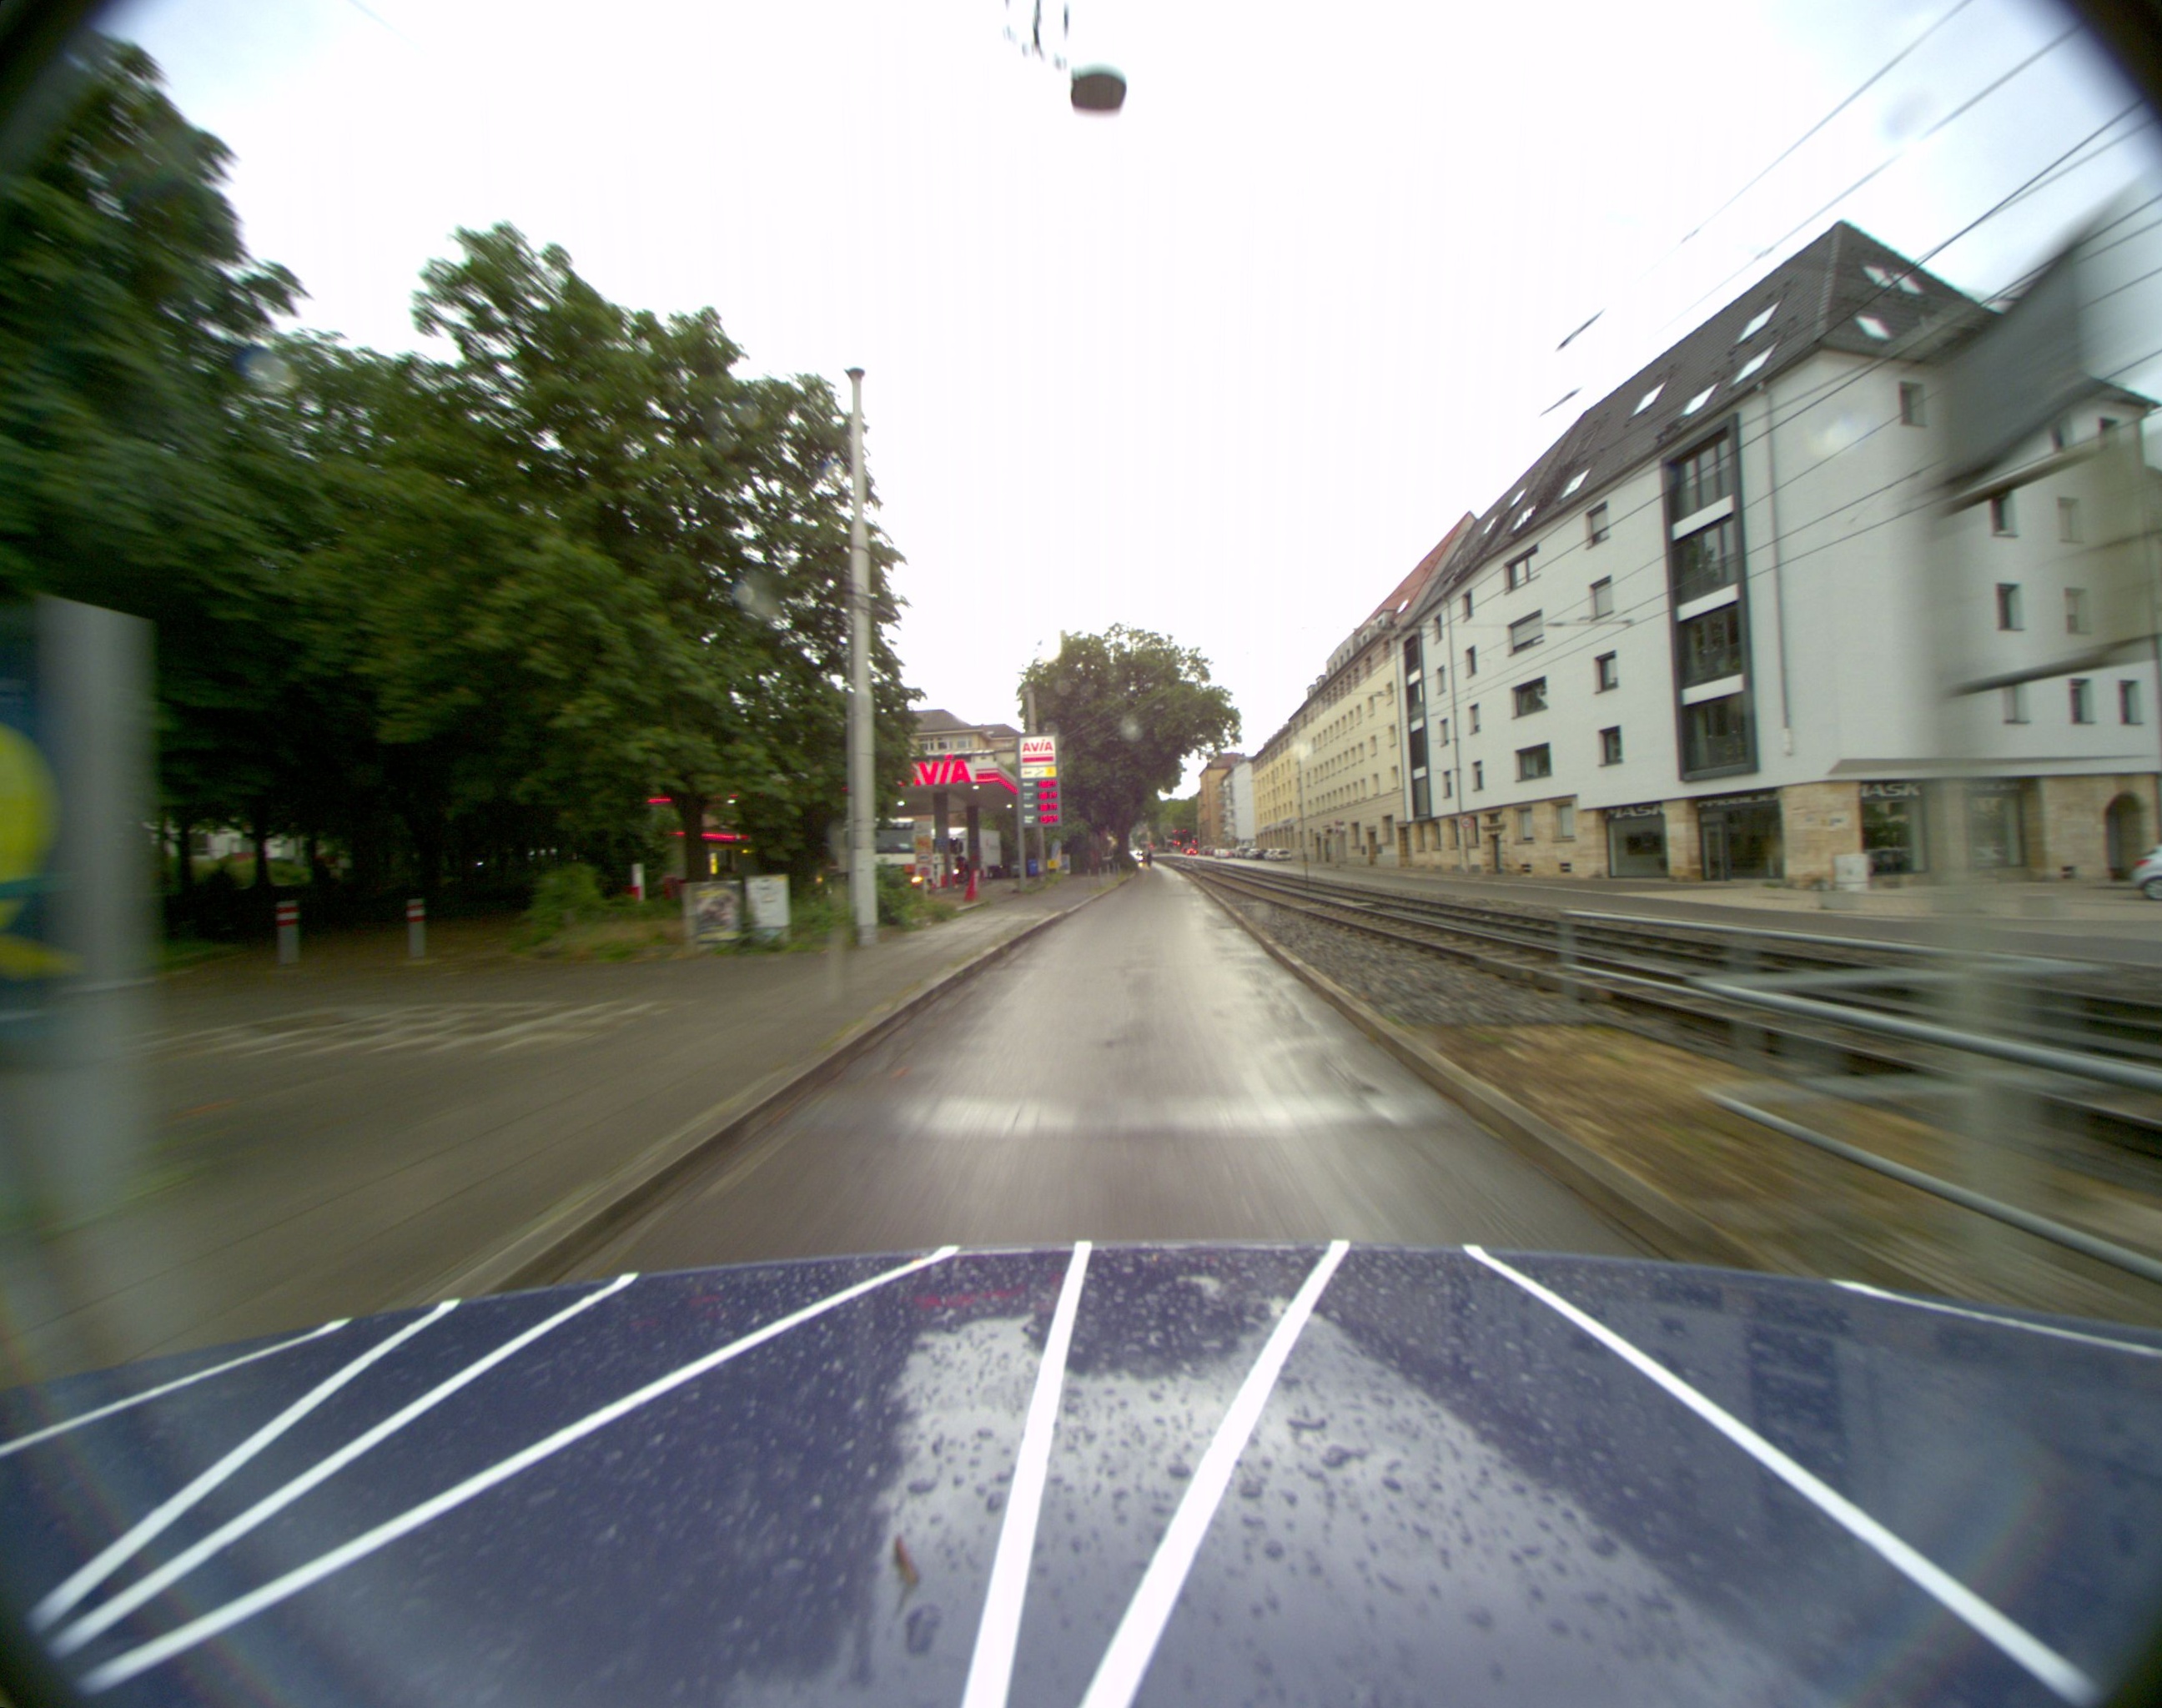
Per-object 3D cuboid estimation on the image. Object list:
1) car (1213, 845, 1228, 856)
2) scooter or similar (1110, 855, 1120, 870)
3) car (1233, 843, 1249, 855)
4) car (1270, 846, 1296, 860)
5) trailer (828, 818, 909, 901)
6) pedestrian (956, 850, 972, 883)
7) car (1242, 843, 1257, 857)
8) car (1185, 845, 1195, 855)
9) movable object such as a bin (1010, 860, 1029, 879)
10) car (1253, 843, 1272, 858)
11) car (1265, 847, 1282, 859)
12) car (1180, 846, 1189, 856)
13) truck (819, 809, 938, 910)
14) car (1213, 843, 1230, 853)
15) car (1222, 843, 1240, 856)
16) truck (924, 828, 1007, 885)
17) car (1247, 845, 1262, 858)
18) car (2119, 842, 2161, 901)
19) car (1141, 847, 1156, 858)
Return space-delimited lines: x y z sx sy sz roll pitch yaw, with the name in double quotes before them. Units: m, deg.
"car" 26.071 -0.650 142.337 2.030 2.002 4.227 -1 1 1
"scooter or similar" 2.806 0.701 62.794 0.400 1.186 1.364 -1 4 18
"car" 24.845 -0.849 117.845 1.727 1.798 3.591 -1 1 1
"car" 23.803 -0.112 89.776 2.030 1.533 4.000 -1 1 1
"trailer" -9.882 0.171 36.303 2.814 3.376 9.825 -2 1 -11
"pedestrian" -7.261 0.770 47.161 0.809 2.028 0.651 -1 1 6
"car" 24.668 -0.591 111.382 1.556 1.872 4.041 -1 1 4
"car" 23.777 -0.893 165.510 1.948 2.002 4.001 -1 1 5
"movable object such as a bin" -4.641 1.154 57.453 1.285 1.392 1.074 -1 0 7
"car" 24.135 -0.454 101.204 1.728 1.949 4.299 -1 1 3
"car" 23.803 -0.152 94.107 1.326 1.476 3.191 -1 1 1
"car" 26.554 -0.812 195.002 2.183 2.420 4.750 -1 1 5
"truck" -7.869 0.177 28.964 2.842 3.380 6.110 -1 1 -30
"car" 21.732 -0.951 117.743 1.691 1.528 5.017 -1 0 0
"car" 24.290 -0.761 123.226 2.030 2.002 4.227 -1 1 1
"truck" -7.787 0.089 53.076 2.659 3.549 10.261 -1 1 9
"car" 24.314 -0.419 106.764 1.377 1.743 3.406 -1 1 1
"car" 27.633 0.423 17.620 1.602 1.412 3.910 -2 1 -19
"car" 9.600 -0.182 108.088 1.888 1.482 3.851 -1 1 8
